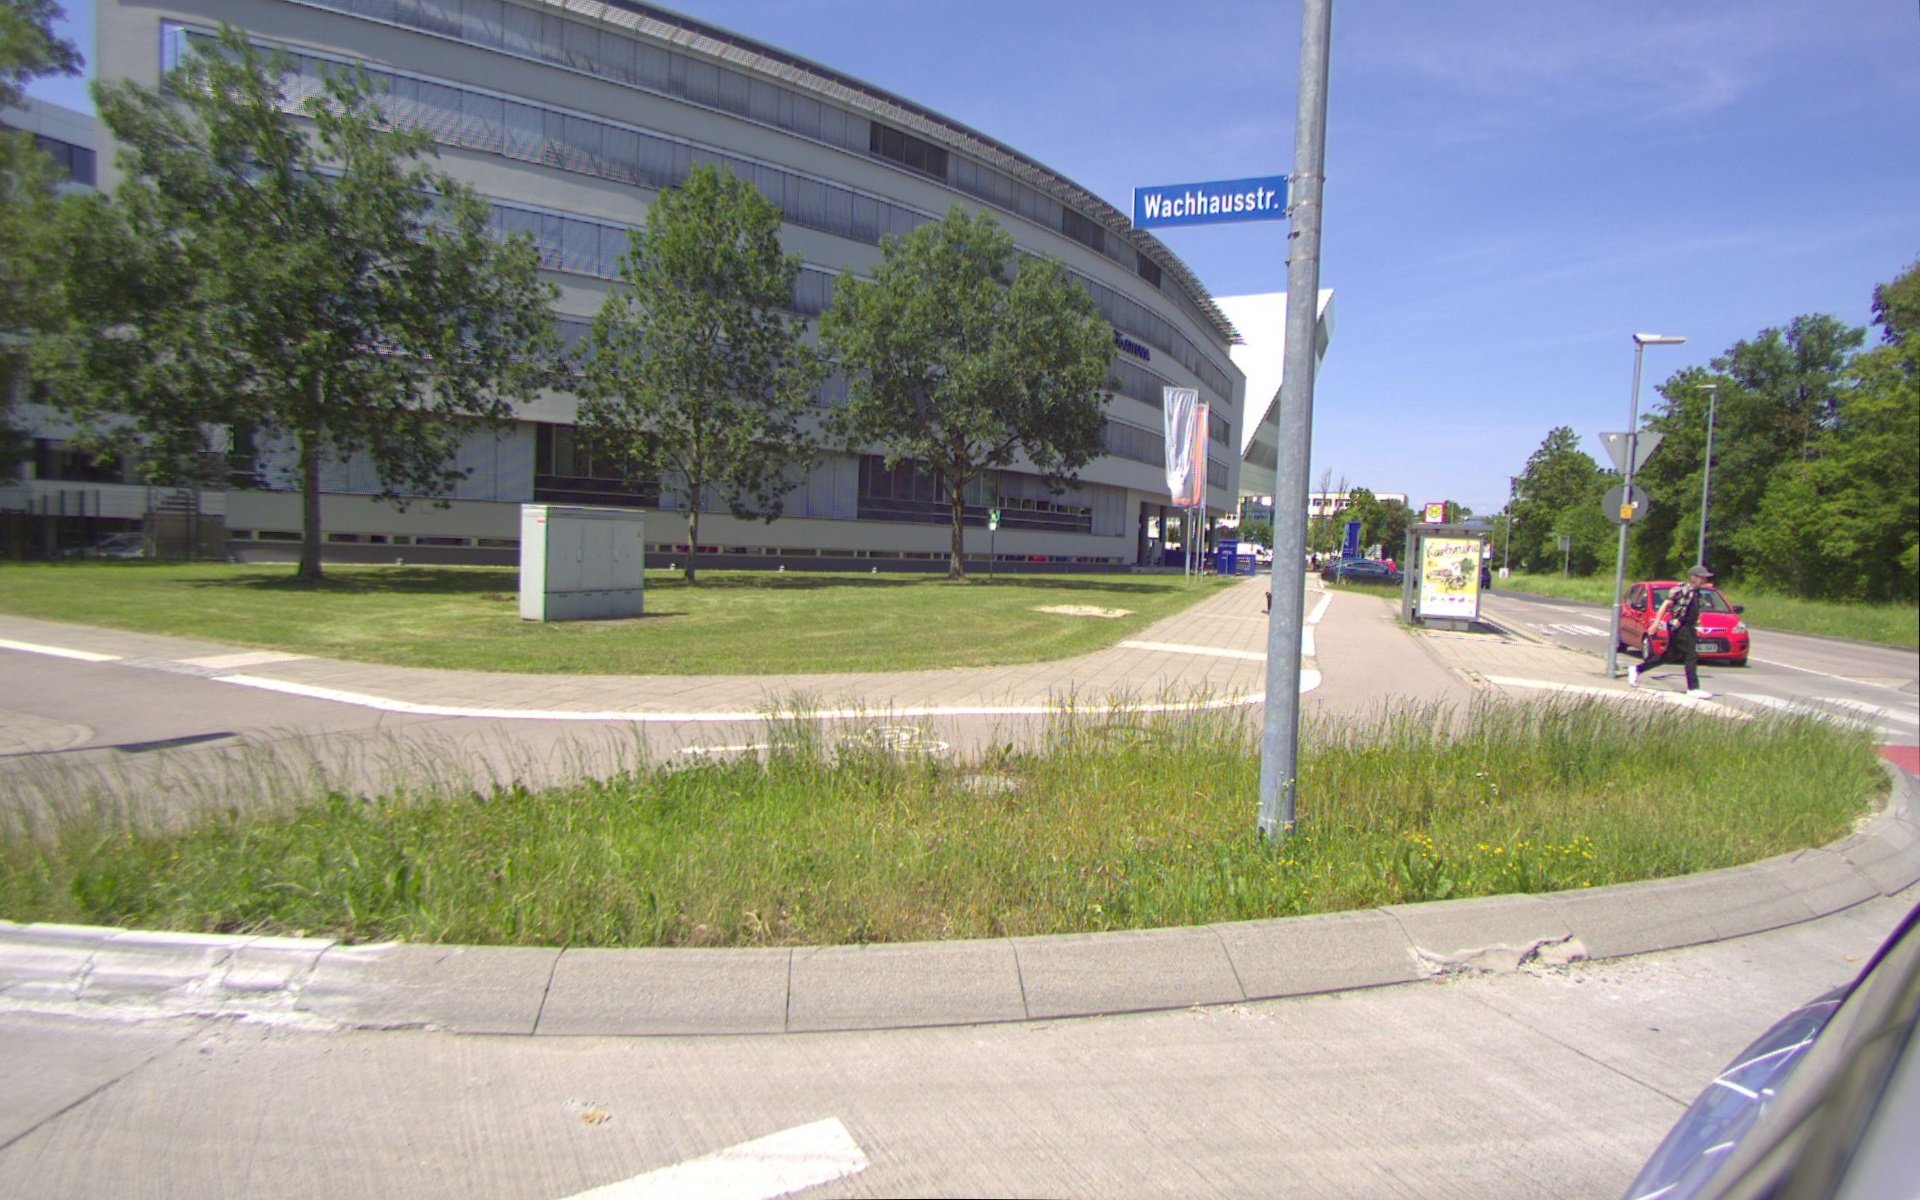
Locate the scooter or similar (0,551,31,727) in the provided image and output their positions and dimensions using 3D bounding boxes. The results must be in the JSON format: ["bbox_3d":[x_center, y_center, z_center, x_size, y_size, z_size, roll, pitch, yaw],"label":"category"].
[{"bbox_3d":[-7.201,0.277,6.809,1.375,1.216,0.447,-2,4,-42],"label":"scooter or similar"}]

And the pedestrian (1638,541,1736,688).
[{"bbox_3d":[9.643,0.159,13.462,0.702,1.843,0.821,5,4,20],"label":"pedestrian"}]

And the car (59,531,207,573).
[{"bbox_3d":[-33.456,-1.973,41.075,1.834,1.587,4.322,2,4,25],"label":"car"}]

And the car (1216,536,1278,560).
[{"bbox_3d":[34.981,-6.345,123.397,6.910,2.694,2.232,3,3,29],"label":"car"}]

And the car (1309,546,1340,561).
[{"bbox_3d":[54.447,-6.964,151.341,4.169,1.999,1.688,3,3,27],"label":"car"}]

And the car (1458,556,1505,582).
[{"bbox_3d":[36.004,-2.112,69.963,1.973,1.615,4.300,4,2,17],"label":"car"}]

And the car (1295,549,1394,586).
[{"bbox_3d":[19.397,-1.674,51.298,4.526,1.448,1.817,5,4,19],"label":"car"}]

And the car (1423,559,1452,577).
[{"bbox_3d":[45.801,-3.070,97.128,1.976,1.496,4.262,5,3,19],"label":"car"}]

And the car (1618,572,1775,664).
[{"bbox_3d":[14.265,0.265,19.804,1.644,1.521,3.334,2,3,22],"label":"car"}]

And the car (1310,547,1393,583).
[{"bbox_3d":[20.783,-1.875,53.756,3.955,1.674,1.826,4,4,23],"label":"car"}]

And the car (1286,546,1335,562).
[{"bbox_3d":[50.815,-6.743,146.628,6.438,2.175,2.145,3,3,27],"label":"car"}]
